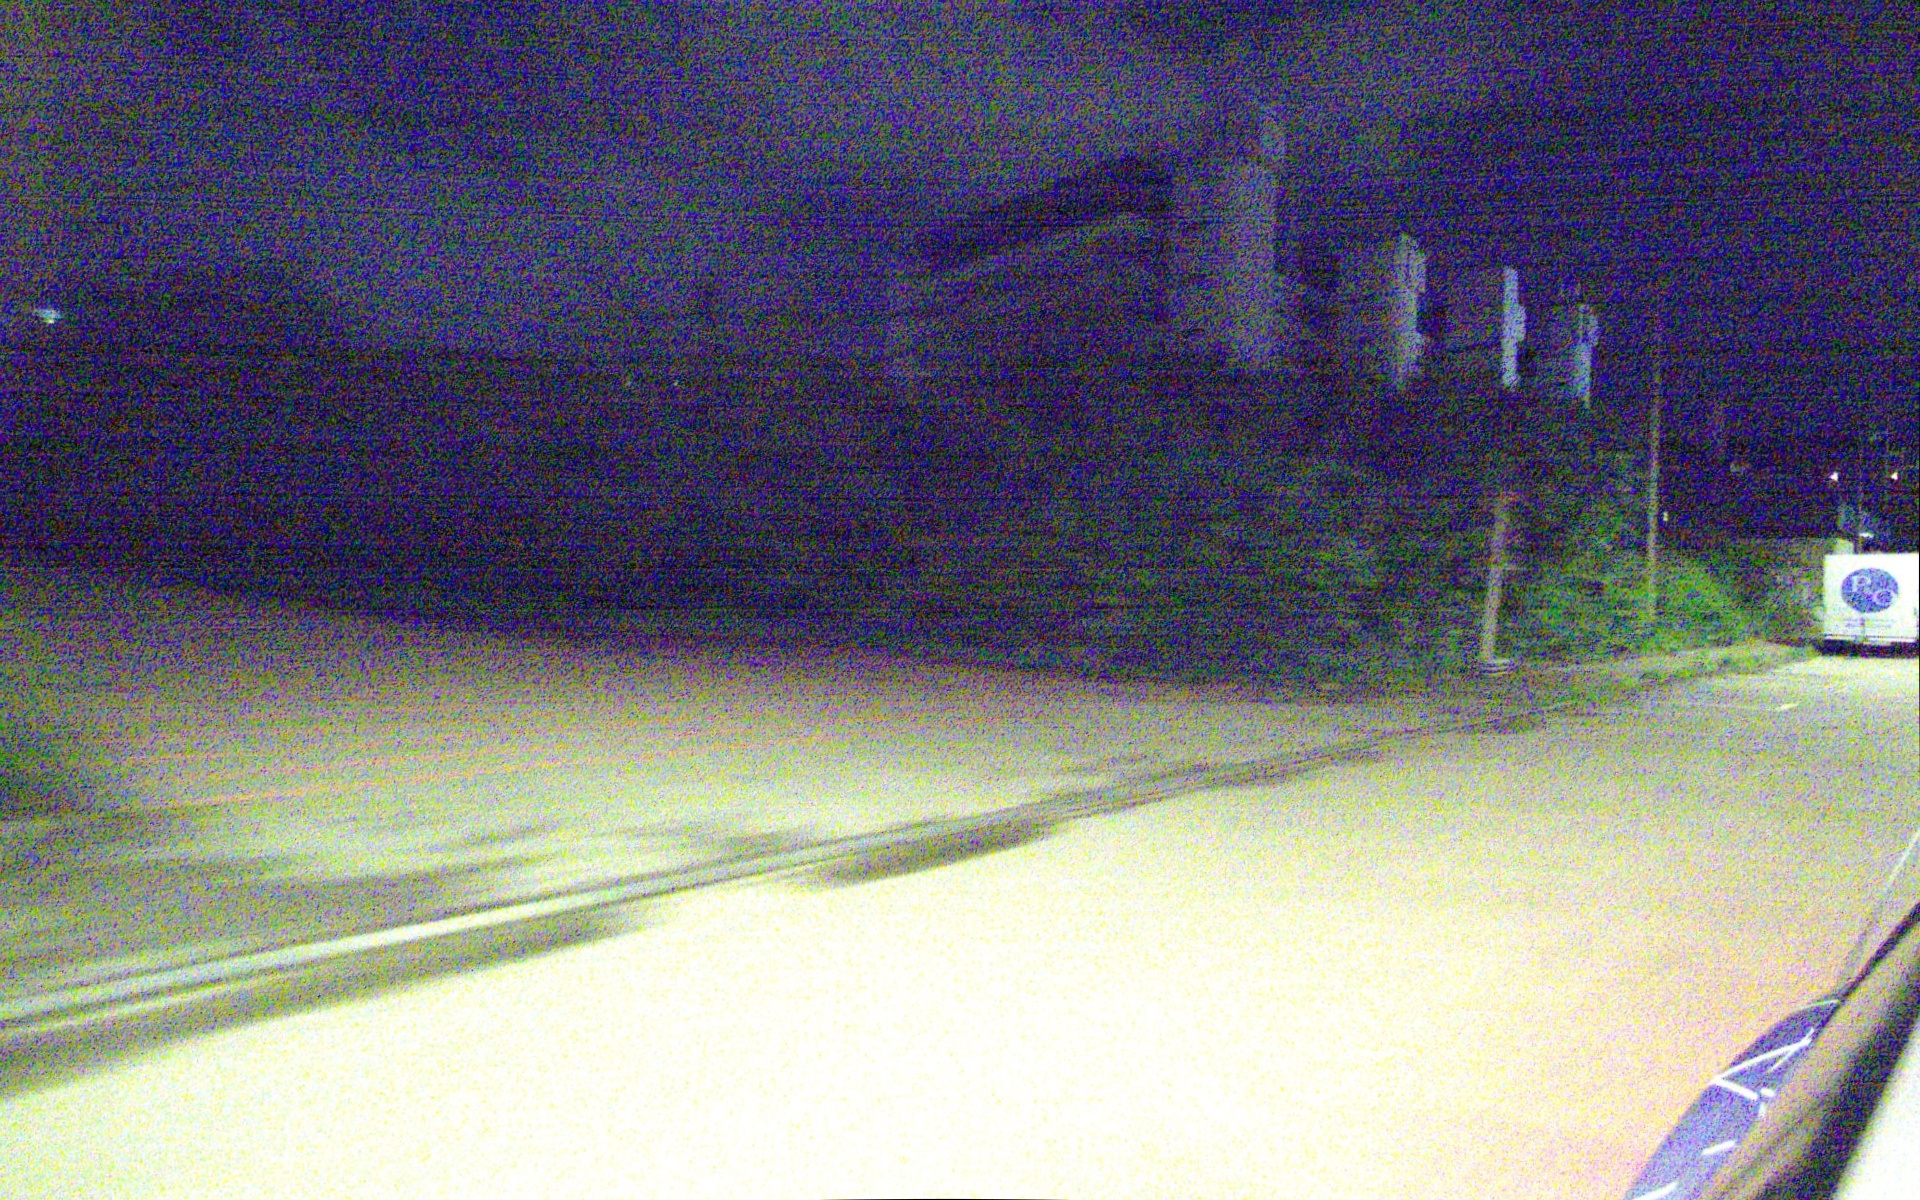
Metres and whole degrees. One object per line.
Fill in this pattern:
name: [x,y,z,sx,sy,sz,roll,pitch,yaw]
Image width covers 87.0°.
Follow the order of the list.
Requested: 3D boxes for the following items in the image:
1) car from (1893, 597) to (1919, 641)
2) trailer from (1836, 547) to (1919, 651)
car: [32.236,0.607,33.455,4.598,1.404,1.728,0,1,-43]
trailer: [25.814,-0.038,27.781,3.927,2.684,1.998,0,0,-39]
